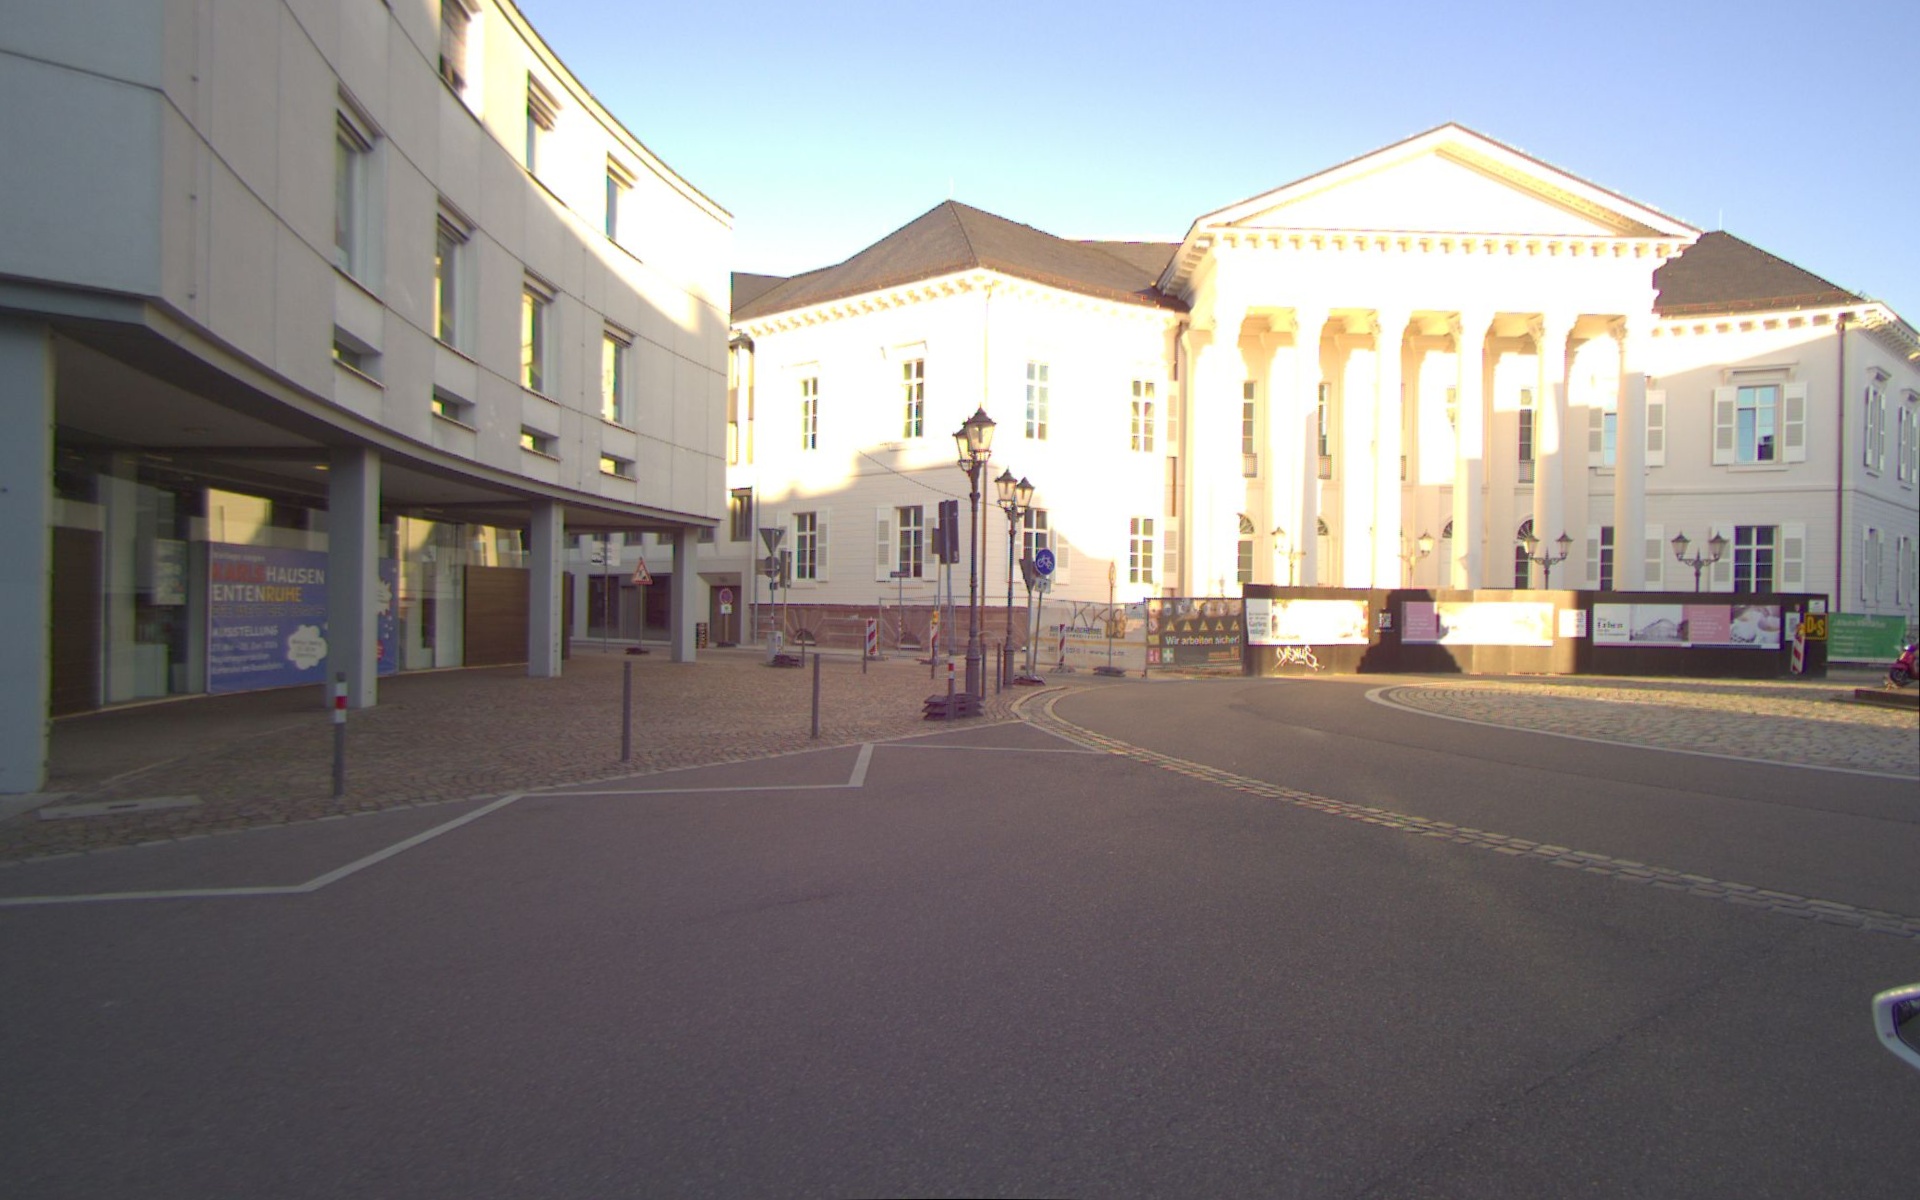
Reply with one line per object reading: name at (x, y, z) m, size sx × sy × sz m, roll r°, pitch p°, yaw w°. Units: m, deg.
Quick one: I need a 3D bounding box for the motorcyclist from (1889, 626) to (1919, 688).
motorcyclist at (26.039, 1.558, 27.478) m, size 0.678 × 1.674 × 0.602 m, roll 1°, pitch 0°, yaw 7°

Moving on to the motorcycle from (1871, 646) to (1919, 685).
motorcycle at (26.098, 1.796, 27.480) m, size 1.719 × 1.045 × 0.602 m, roll 1°, pitch 0°, yaw 7°
